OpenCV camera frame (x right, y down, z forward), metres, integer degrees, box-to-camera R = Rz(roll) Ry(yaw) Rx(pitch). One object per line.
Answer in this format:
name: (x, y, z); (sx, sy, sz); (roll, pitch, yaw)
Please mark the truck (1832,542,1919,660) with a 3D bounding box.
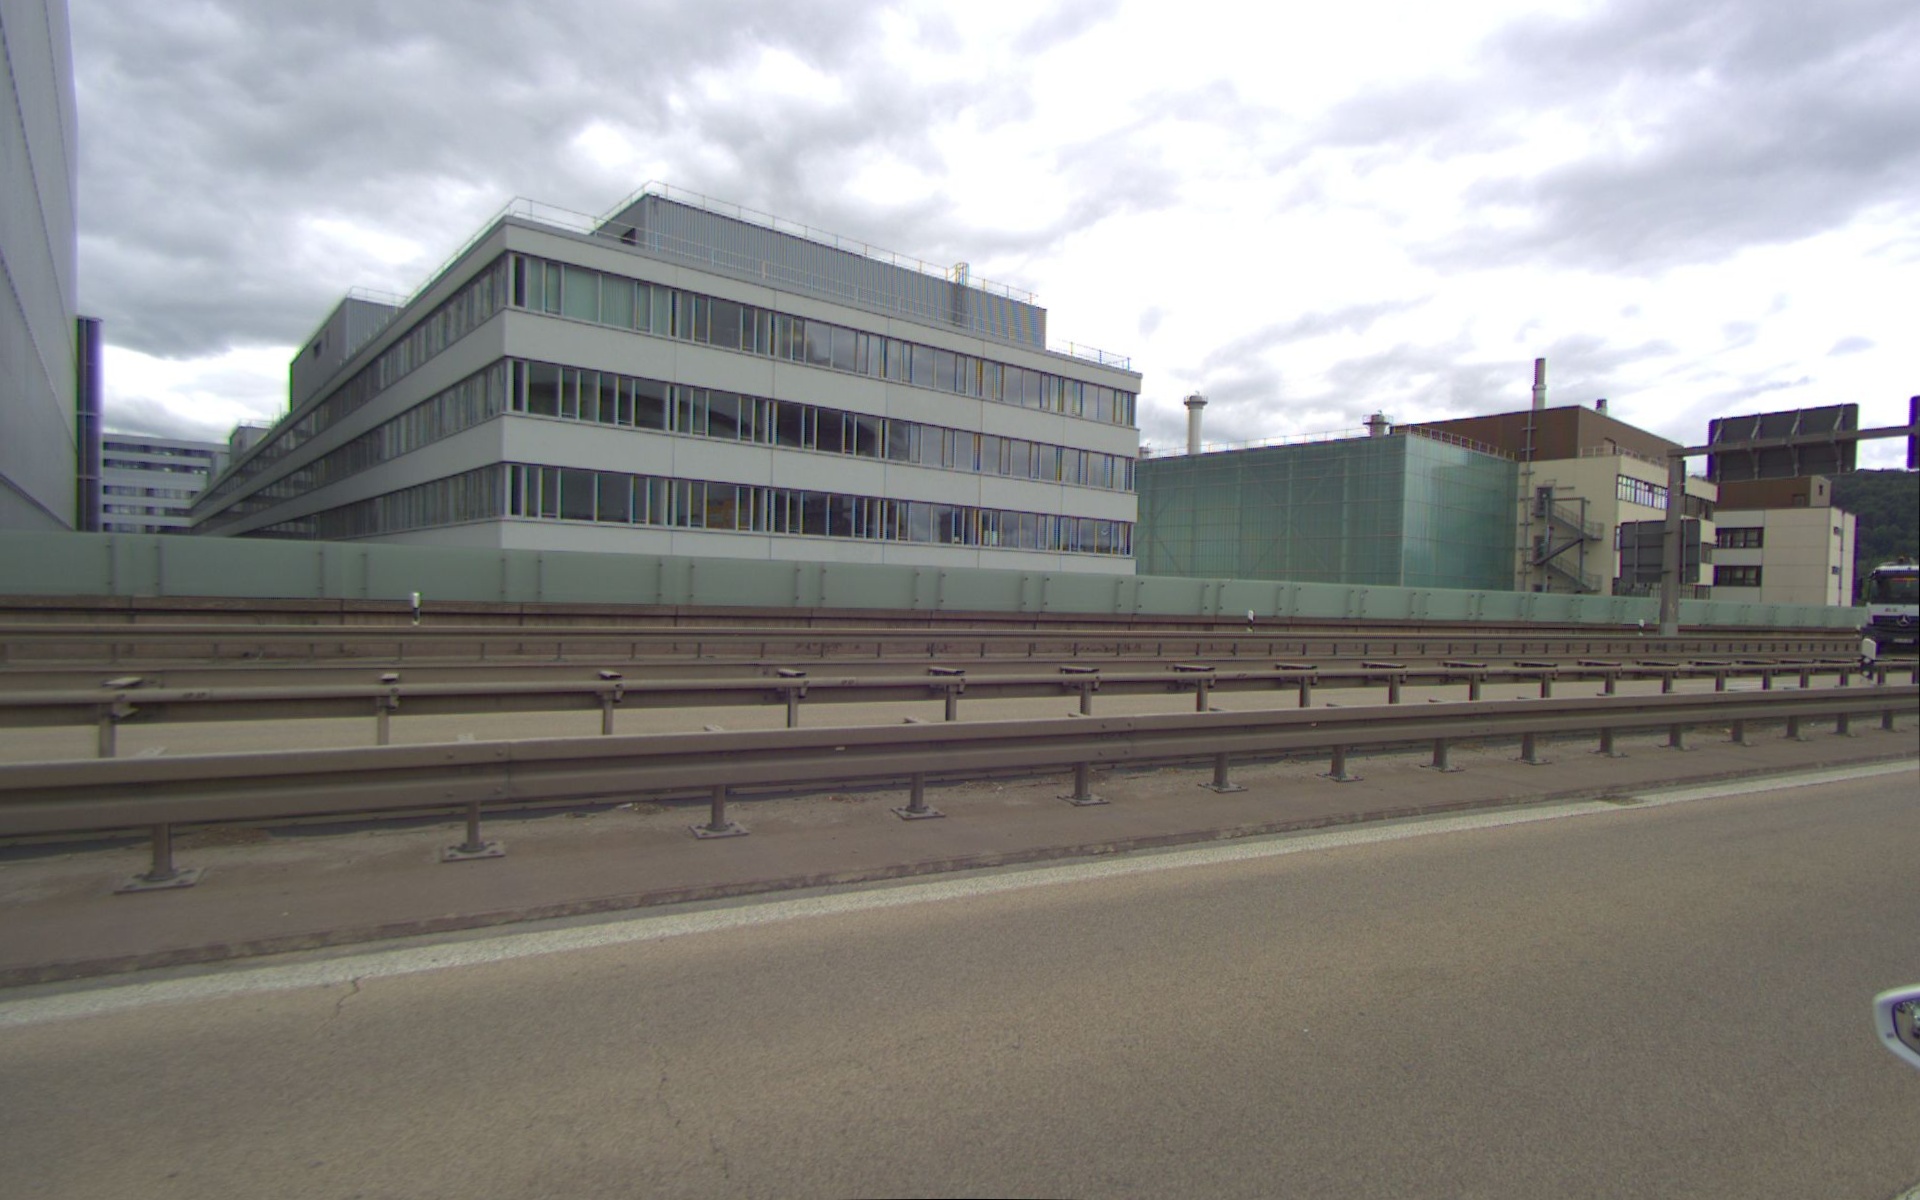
truck: (36.029, 0.201, 36.383); (12.376, 3.826, 3.041); (2, -1, -31)
